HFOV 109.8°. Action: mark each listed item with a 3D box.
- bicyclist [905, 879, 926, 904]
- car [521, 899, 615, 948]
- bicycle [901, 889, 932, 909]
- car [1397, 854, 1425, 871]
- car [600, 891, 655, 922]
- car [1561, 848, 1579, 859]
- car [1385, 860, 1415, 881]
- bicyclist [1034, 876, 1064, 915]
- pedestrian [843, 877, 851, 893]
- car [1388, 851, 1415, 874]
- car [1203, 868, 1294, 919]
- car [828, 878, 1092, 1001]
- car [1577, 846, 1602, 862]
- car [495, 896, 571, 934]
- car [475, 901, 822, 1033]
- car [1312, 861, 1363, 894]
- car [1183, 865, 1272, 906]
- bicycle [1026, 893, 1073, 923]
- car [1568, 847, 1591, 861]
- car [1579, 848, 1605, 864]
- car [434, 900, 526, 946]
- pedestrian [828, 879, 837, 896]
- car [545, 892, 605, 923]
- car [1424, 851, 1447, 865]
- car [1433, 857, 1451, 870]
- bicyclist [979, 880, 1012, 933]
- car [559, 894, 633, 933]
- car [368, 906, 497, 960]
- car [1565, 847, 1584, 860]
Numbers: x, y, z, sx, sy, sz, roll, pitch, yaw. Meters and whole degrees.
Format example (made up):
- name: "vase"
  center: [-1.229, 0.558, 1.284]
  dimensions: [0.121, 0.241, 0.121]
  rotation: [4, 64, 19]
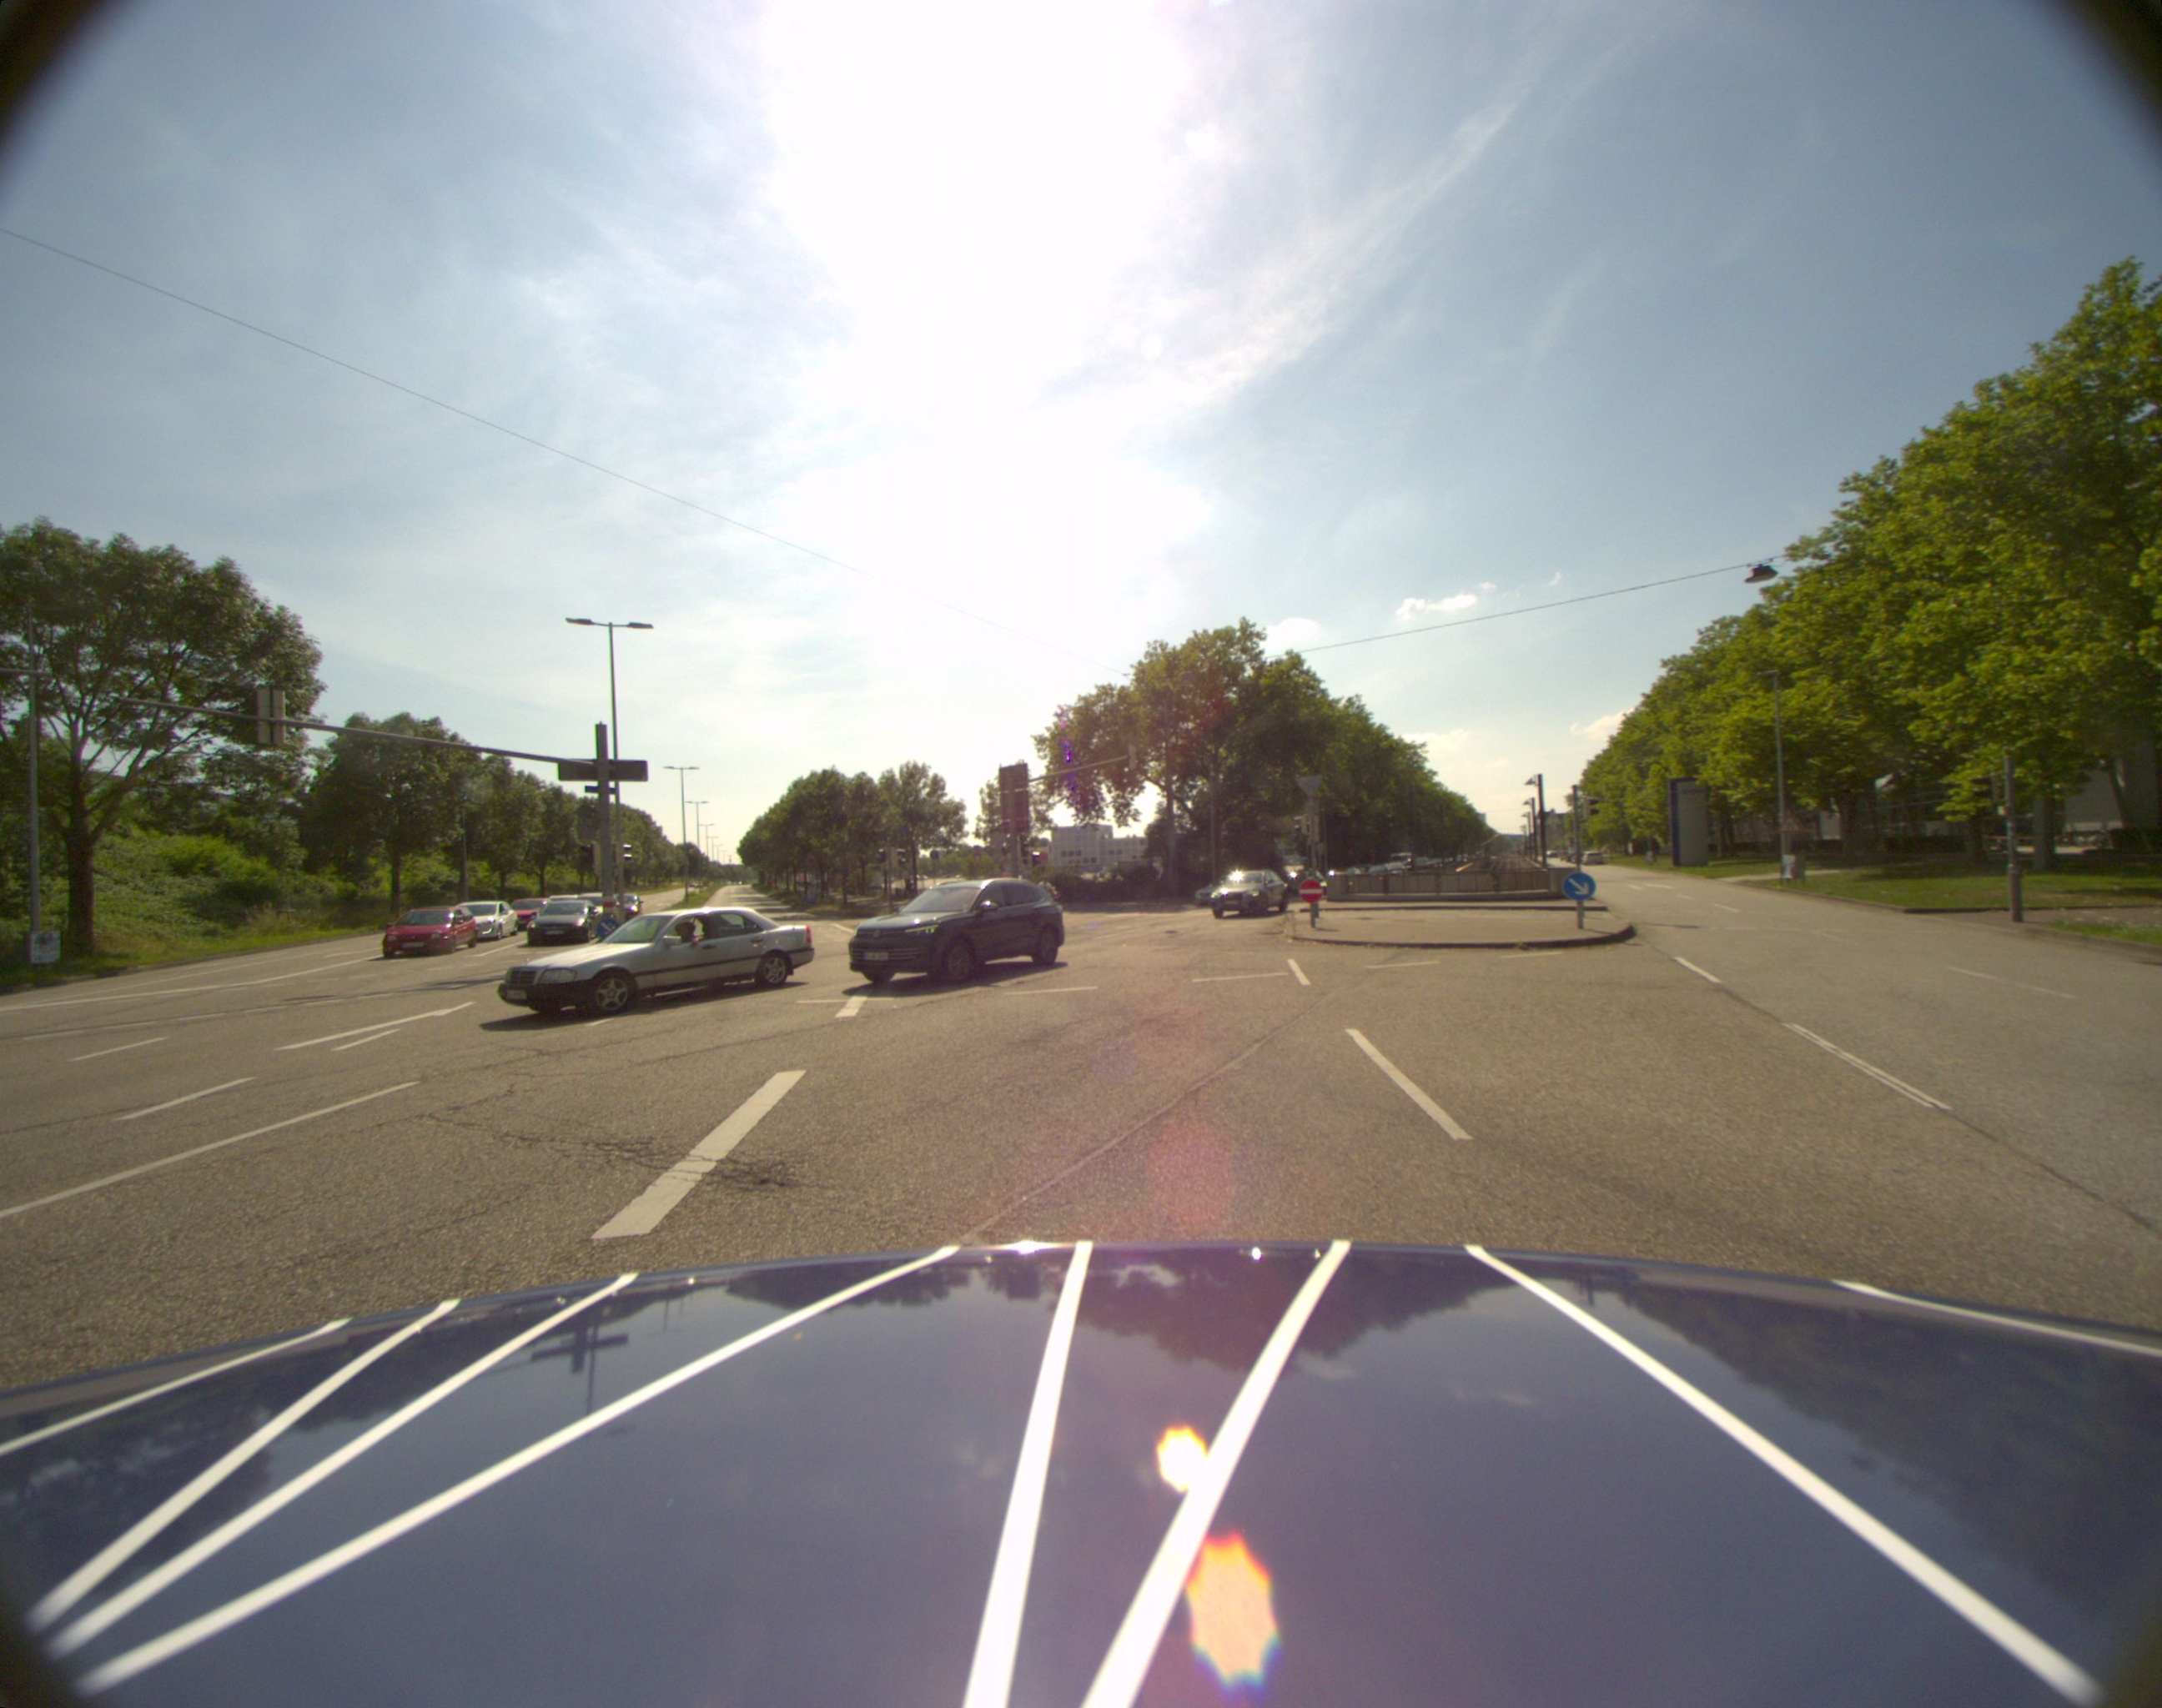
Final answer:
- name: "bicyclist"
  center: [-9.738, 2.205, 44.744]
  dimensions: [0.886, 1.434, 0.964]
  rotation: [-2, 0, -32]
- name: "car"
  center: [-18.188, 2.414, 27.127]
  dimensions: [1.717, 1.498, 3.995]
  rotation: [-3, -2, -19]
- name: "bicycle"
  center: [-9.715, 2.630, 44.754]
  dimensions: [0.886, 1.053, 2.766]
  rotation: [-2, -1, -32]
- name: "car"
  center: [31.318, 0.790, 72.013]
  dimensions: [1.818, 1.521, 4.008]
  rotation: [-3, -1, 33]
- name: "car"
  center: [-24.651, 2.849, 41.423]
  dimensions: [1.717, 1.498, 3.995]
  rotation: [-3, -2, -19]
- name: "car"
  center: [76.889, -0.050, 119.481]
  dimensions: [1.899, 1.630, 4.008]
  rotation: [-5, -2, 29]
- name: "car"
  center: [25.355, 1.325, 60.369]
  dimensions: [1.779, 1.487, 4.007]
  rotation: [-3, -1, 28]
- name: "bicyclist"
  center: [-1.228, 1.592, 29.439]
  dimensions: [0.774, 1.427, 0.919]
  rotation: [-2, 0, -29]
- name: "pedestrian"
  center: [-23.106, 3.037, 75.148]
  dimensions: [0.579, 1.515, 0.878]
  rotation: [-2, 0, -26]
- name: "car"
  center: [36.129, 0.907, 85.545]
  dimensions: [2.097, 2.337, 5.646]
  rotation: [-3, -1, 28]
- name: "car"
  center: [6.105, 1.364, 27.287]
  dimensions: [1.826, 1.540, 4.569]
  rotation: [-3, -1, 30]
- name: "car"
  center: [-1.904, 1.359, 13.742]
  dimensions: [1.944, 1.598, 4.984]
  rotation: [-3, -1, 30]
- name: "car"
  center: [58.982, 0.015, 88.179]
  dimensions: [1.899, 1.630, 4.008]
  rotation: [-5, -2, 29]
- name: "car"
  center: [-25.291, 2.776, 35.208]
  dimensions: [1.717, 1.498, 3.995]
  rotation: [-3, -2, -19]
- name: "car"
  center: [-6.435, 1.585, 11.922]
  dimensions: [1.712, 1.383, 4.449]
  rotation: [-3, -1, 28]
- name: "car"
  center: [14.185, 1.256, 41.886]
  dimensions: [1.815, 1.603, 4.008]
  rotation: [-4, -2, 30]
- name: "car"
  center: [7.512, 1.559, 38.557]
  dimensions: [1.995, 1.713, 5.175]
  rotation: [-5, -2, 41]
- name: "bicycle"
  center: [-1.234, 2.069, 29.491]
  dimensions: [0.774, 1.047, 2.396]
  rotation: [-2, 0, -29]
- name: "car"
  center: [63.373, 0.020, 96.613]
  dimensions: [1.899, 1.630, 4.793]
  rotation: [-5, -2, 29]
- name: "car"
  center: [56.229, 0.189, 83.644]
  dimensions: [1.899, 1.630, 4.008]
  rotation: [-5, -2, 29]
- name: "car"
  center: [-22.727, 2.568, 28.901]
  dimensions: [1.718, 1.498, 3.994]
  rotation: [-3, -2, -23]
- name: "pedestrian"
  center: [-24.964, 3.339, 76.346]
  dimensions: [0.632, 1.699, 0.766]
  rotation: [-2, 0, -26]
- name: "car"
  center: [-27.811, 2.932, 41.895]
  dimensions: [1.717, 1.498, 3.995]
  rotation: [-3, -2, -19]
- name: "car"
  center: [39.597, 0.437, 84.863]
  dimensions: [1.818, 1.521, 4.007]
  rotation: [-3, 0, 31]
- name: "car"
  center: [46.148, 1.155, 96.993]
  dimensions: [1.779, 1.487, 4.007]
  rotation: [-3, -1, 28]
- name: "bicyclist"
  center: [-2.657, 1.626, 23.617]
  dimensions: [0.546, 1.557, 0.911]
  rotation: [-2, 0, 29]
- name: "car"
  center: [-21.111, 2.560, 33.276]
  dimensions: [1.717, 1.498, 4.207]
  rotation: [-3, -2, -19]
- name: "car"
  center: [-20.458, 2.438, 24.167]
  dimensions: [1.717, 1.384, 3.995]
  rotation: [-3, -2, -19]
- name: "car"
  center: [69.956, -0.025, 107.747]
  dimensions: [1.899, 1.630, 4.008]
  rotation: [-5, -2, 29]
